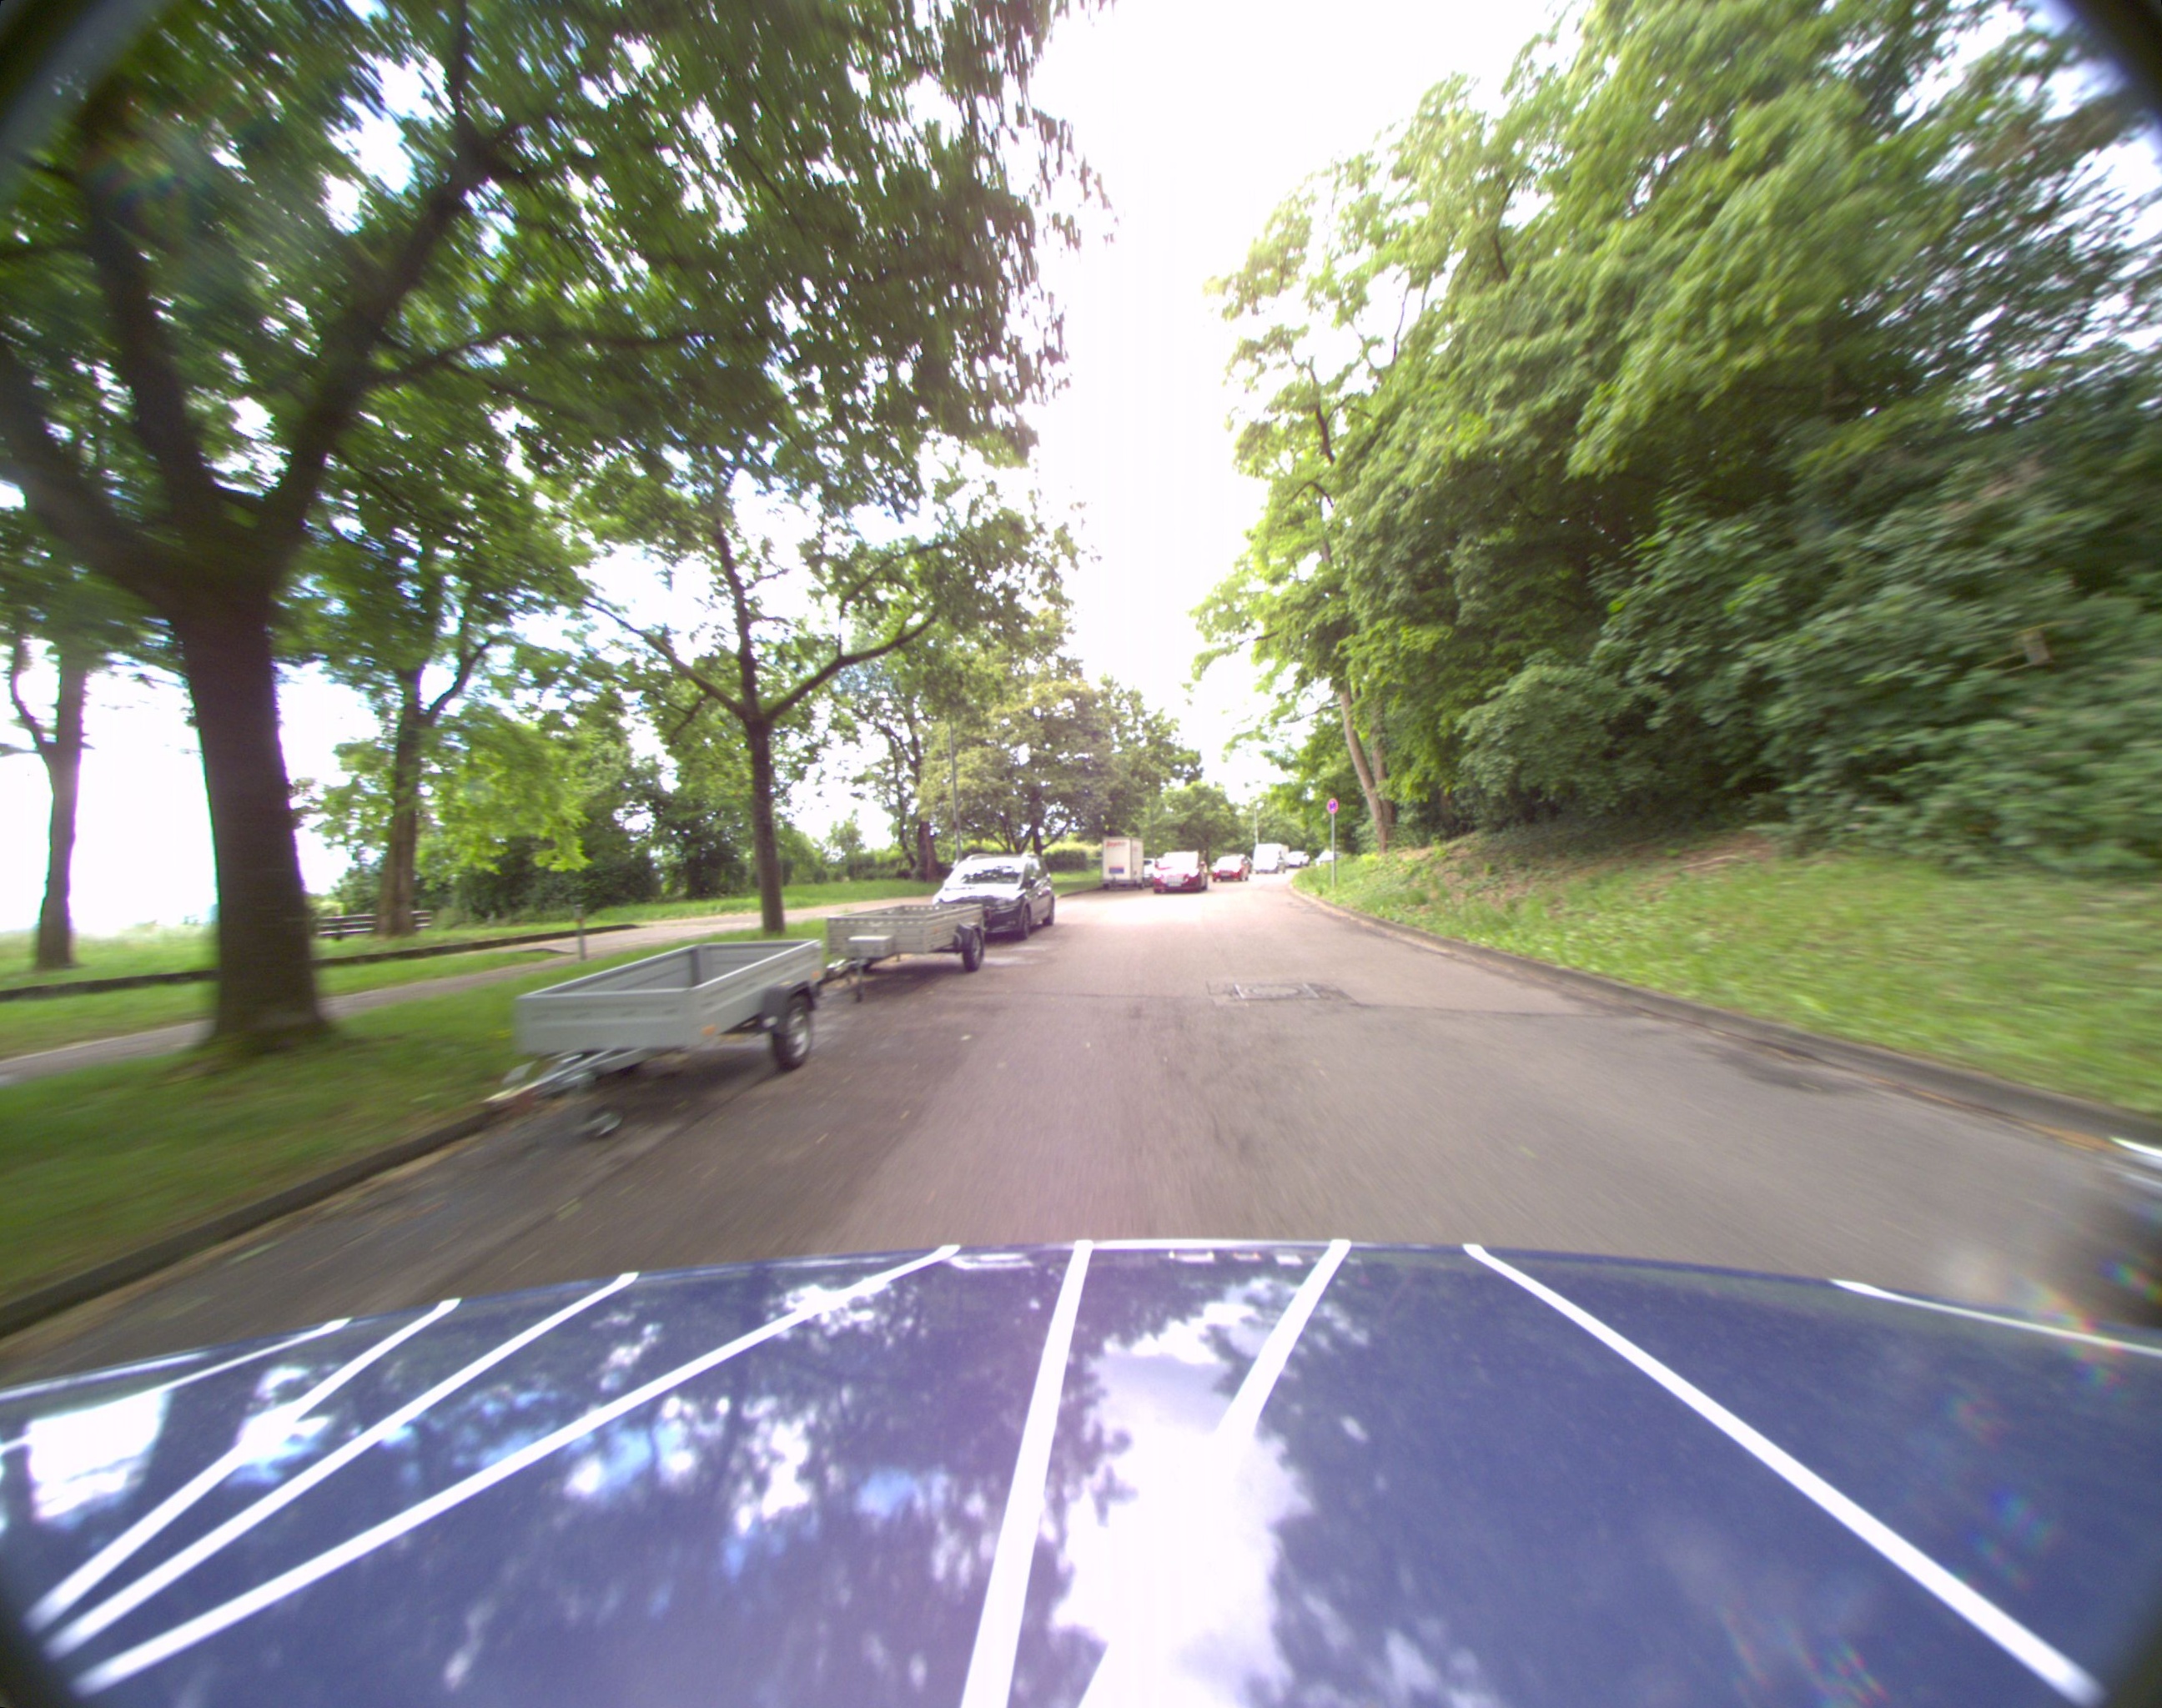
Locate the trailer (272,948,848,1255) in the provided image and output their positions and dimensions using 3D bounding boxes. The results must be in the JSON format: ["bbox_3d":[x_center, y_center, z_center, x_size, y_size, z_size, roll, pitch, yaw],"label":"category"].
[{"bbox_3d":[-2.858,1.327,5.057,1.366,0.843,3.278,-4,1,4],"label":"trailer"}]

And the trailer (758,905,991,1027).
[{"bbox_3d":[-2.399,1.301,9.837,1.360,0.963,3.895,-3,-1,9],"label":"trailer"}]

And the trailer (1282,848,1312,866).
[{"bbox_3d":[23.350,0.327,82.034,1.773,1.721,4.658,0,2,33],"label":"trailer"}]

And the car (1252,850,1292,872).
[{"bbox_3d":[15.924,0.562,63.282,1.919,1.672,4.007,0,2,35],"label":"car"}]

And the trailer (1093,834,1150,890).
[{"bbox_3d":[1.915,0.338,34.790,1.763,2.413,3.891,-1,0,15],"label":"trailer"}]

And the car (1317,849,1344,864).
[{"bbox_3d":[25.913,0.277,78.804,1.800,1.481,4.008,-1,0,32],"label":"car"}]

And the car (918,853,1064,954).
[{"bbox_3d":[-1.669,0.882,15.894,1.779,1.653,4.843,-3,0,8],"label":"car"}]

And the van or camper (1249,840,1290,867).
[{"bbox_3d":[18.444,-0.108,74.206,2.162,2.521,6.042,-1,0,31],"label":"van or camper"}]

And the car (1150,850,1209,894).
[{"bbox_3d":[4.157,0.684,31.482,1.997,1.619,4.630,-3,0,12],"label":"car"}]

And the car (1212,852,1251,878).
[{"bbox_3d":[8.961,0.620,44.978,1.864,1.440,4.181,-1,0,16],"label":"car"}]

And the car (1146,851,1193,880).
[{"bbox_3d":[5.487,0.687,46.576,1.904,1.468,4.063,-3,1,19],"label":"car"}]

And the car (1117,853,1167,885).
[{"bbox_3d":[3.292,0.736,40.075,1.743,1.516,4.640,-1,1,15],"label":"car"}]
